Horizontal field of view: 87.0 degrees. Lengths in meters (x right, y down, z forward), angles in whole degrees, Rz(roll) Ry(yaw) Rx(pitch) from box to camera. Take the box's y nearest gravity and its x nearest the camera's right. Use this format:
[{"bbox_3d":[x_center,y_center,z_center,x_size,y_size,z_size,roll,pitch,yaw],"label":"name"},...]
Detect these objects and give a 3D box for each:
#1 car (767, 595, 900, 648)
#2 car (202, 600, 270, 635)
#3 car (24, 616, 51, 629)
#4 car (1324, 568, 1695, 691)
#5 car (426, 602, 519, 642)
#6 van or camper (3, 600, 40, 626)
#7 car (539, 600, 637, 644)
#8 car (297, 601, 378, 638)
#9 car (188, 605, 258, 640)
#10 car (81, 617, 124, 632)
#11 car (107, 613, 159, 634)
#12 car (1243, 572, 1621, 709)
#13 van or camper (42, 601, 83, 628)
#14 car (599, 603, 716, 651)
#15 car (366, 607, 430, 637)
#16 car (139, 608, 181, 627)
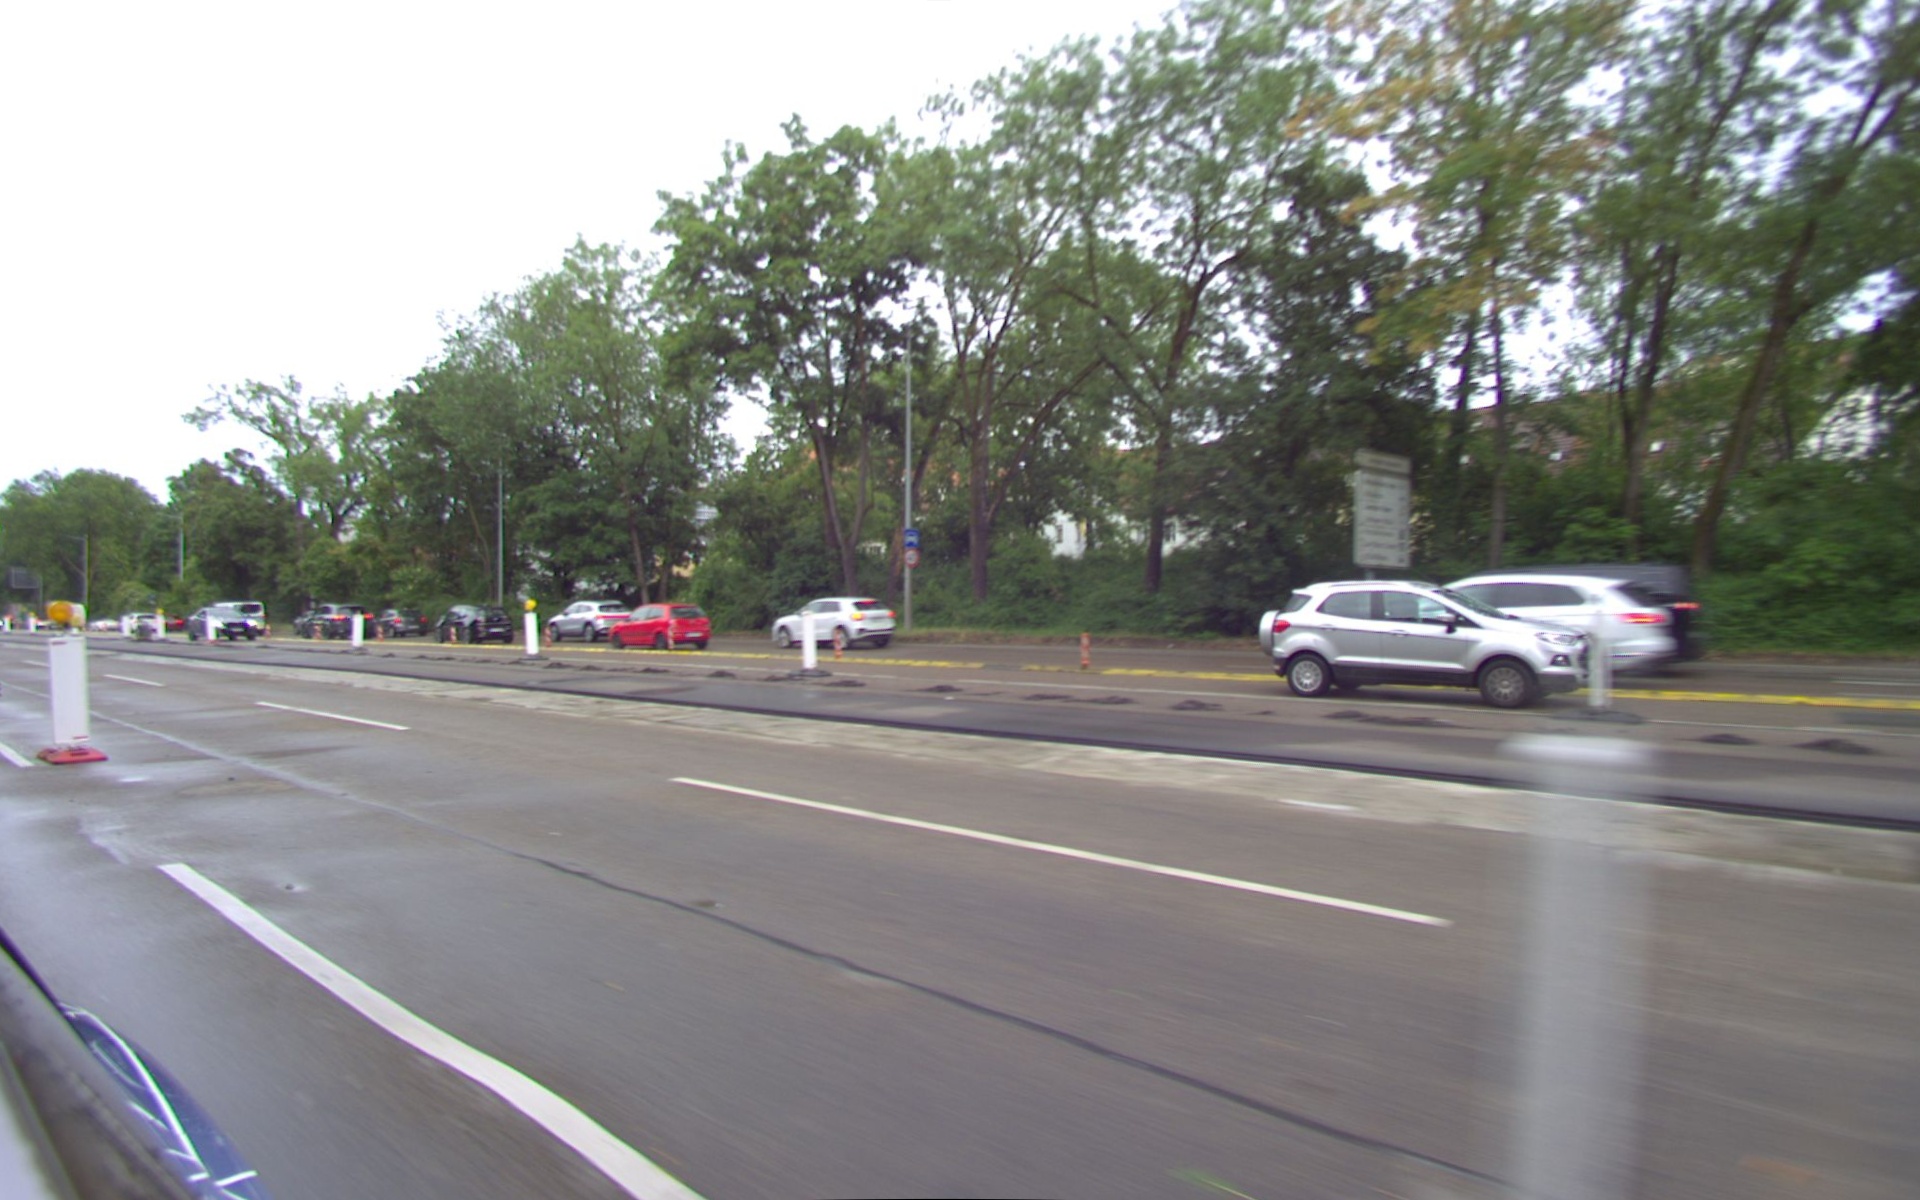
[{"bbox_3d":[-3.872,0.636,30.637,4.147,1.507,1.661,-1,-1,41],"label":"car"},{"bbox_3d":[-42.885,1.014,59.934,4.896,1.987,1.974,-1,0,38],"label":"car"},{"bbox_3d":[-100.701,2.405,110.474,4.079,1.375,1.698,-1,-1,40],"label":"car"},{"bbox_3d":[8.552,0.407,16.054,4.890,1.674,1.870,-1,0,41],"label":"car"},{"bbox_3d":[-19.528,0.874,40.472,4.192,1.499,1.759,-1,0,40],"label":"car"},{"bbox_3d":[-114.764,1.621,123.701,7.444,3.086,2.275,0,0,39],"label":"van or camper"},{"bbox_3d":[-14.827,0.866,40.203,4.415,1.639,1.685,-1,0,40],"label":"car"},{"bbox_3d":[-30.812,0.948,50.039,5.010,1.738,2.000,-1,0,41],"label":"car"},{"bbox_3d":[-37.431,1.105,51.333,4.811,1.641,1.972,-1,0,43],"label":"car"},{"bbox_3d":[-77.582,2.219,91.564,3.983,1.192,1.677,-1,1,30],"label":"car"},{"bbox_3d":[-60.536,1.707,74.063,4.386,1.426,1.975,-1,-1,37],"label":"car"},{"bbox_3d":[6.345,0.479,13.905,4.362,1.576,1.869,-1,1,42],"label":"car"},{"bbox_3d":[-91.136,1.470,102.678,7.723,2.574,1.974,-1,1,40],"label":"van or camper"},{"bbox_3d":[-9.622,0.816,32.058,4.010,1.411,1.662,-1,0,41],"label":"car"},{"bbox_3d":[-29.037,1.120,52.230,3.998,1.431,1.628,-1,0,41],"label":"car"},{"bbox_3d":[-63.809,1.413,80.730,4.482,1.487,1.712,-1,-1,39],"label":"car"}]
